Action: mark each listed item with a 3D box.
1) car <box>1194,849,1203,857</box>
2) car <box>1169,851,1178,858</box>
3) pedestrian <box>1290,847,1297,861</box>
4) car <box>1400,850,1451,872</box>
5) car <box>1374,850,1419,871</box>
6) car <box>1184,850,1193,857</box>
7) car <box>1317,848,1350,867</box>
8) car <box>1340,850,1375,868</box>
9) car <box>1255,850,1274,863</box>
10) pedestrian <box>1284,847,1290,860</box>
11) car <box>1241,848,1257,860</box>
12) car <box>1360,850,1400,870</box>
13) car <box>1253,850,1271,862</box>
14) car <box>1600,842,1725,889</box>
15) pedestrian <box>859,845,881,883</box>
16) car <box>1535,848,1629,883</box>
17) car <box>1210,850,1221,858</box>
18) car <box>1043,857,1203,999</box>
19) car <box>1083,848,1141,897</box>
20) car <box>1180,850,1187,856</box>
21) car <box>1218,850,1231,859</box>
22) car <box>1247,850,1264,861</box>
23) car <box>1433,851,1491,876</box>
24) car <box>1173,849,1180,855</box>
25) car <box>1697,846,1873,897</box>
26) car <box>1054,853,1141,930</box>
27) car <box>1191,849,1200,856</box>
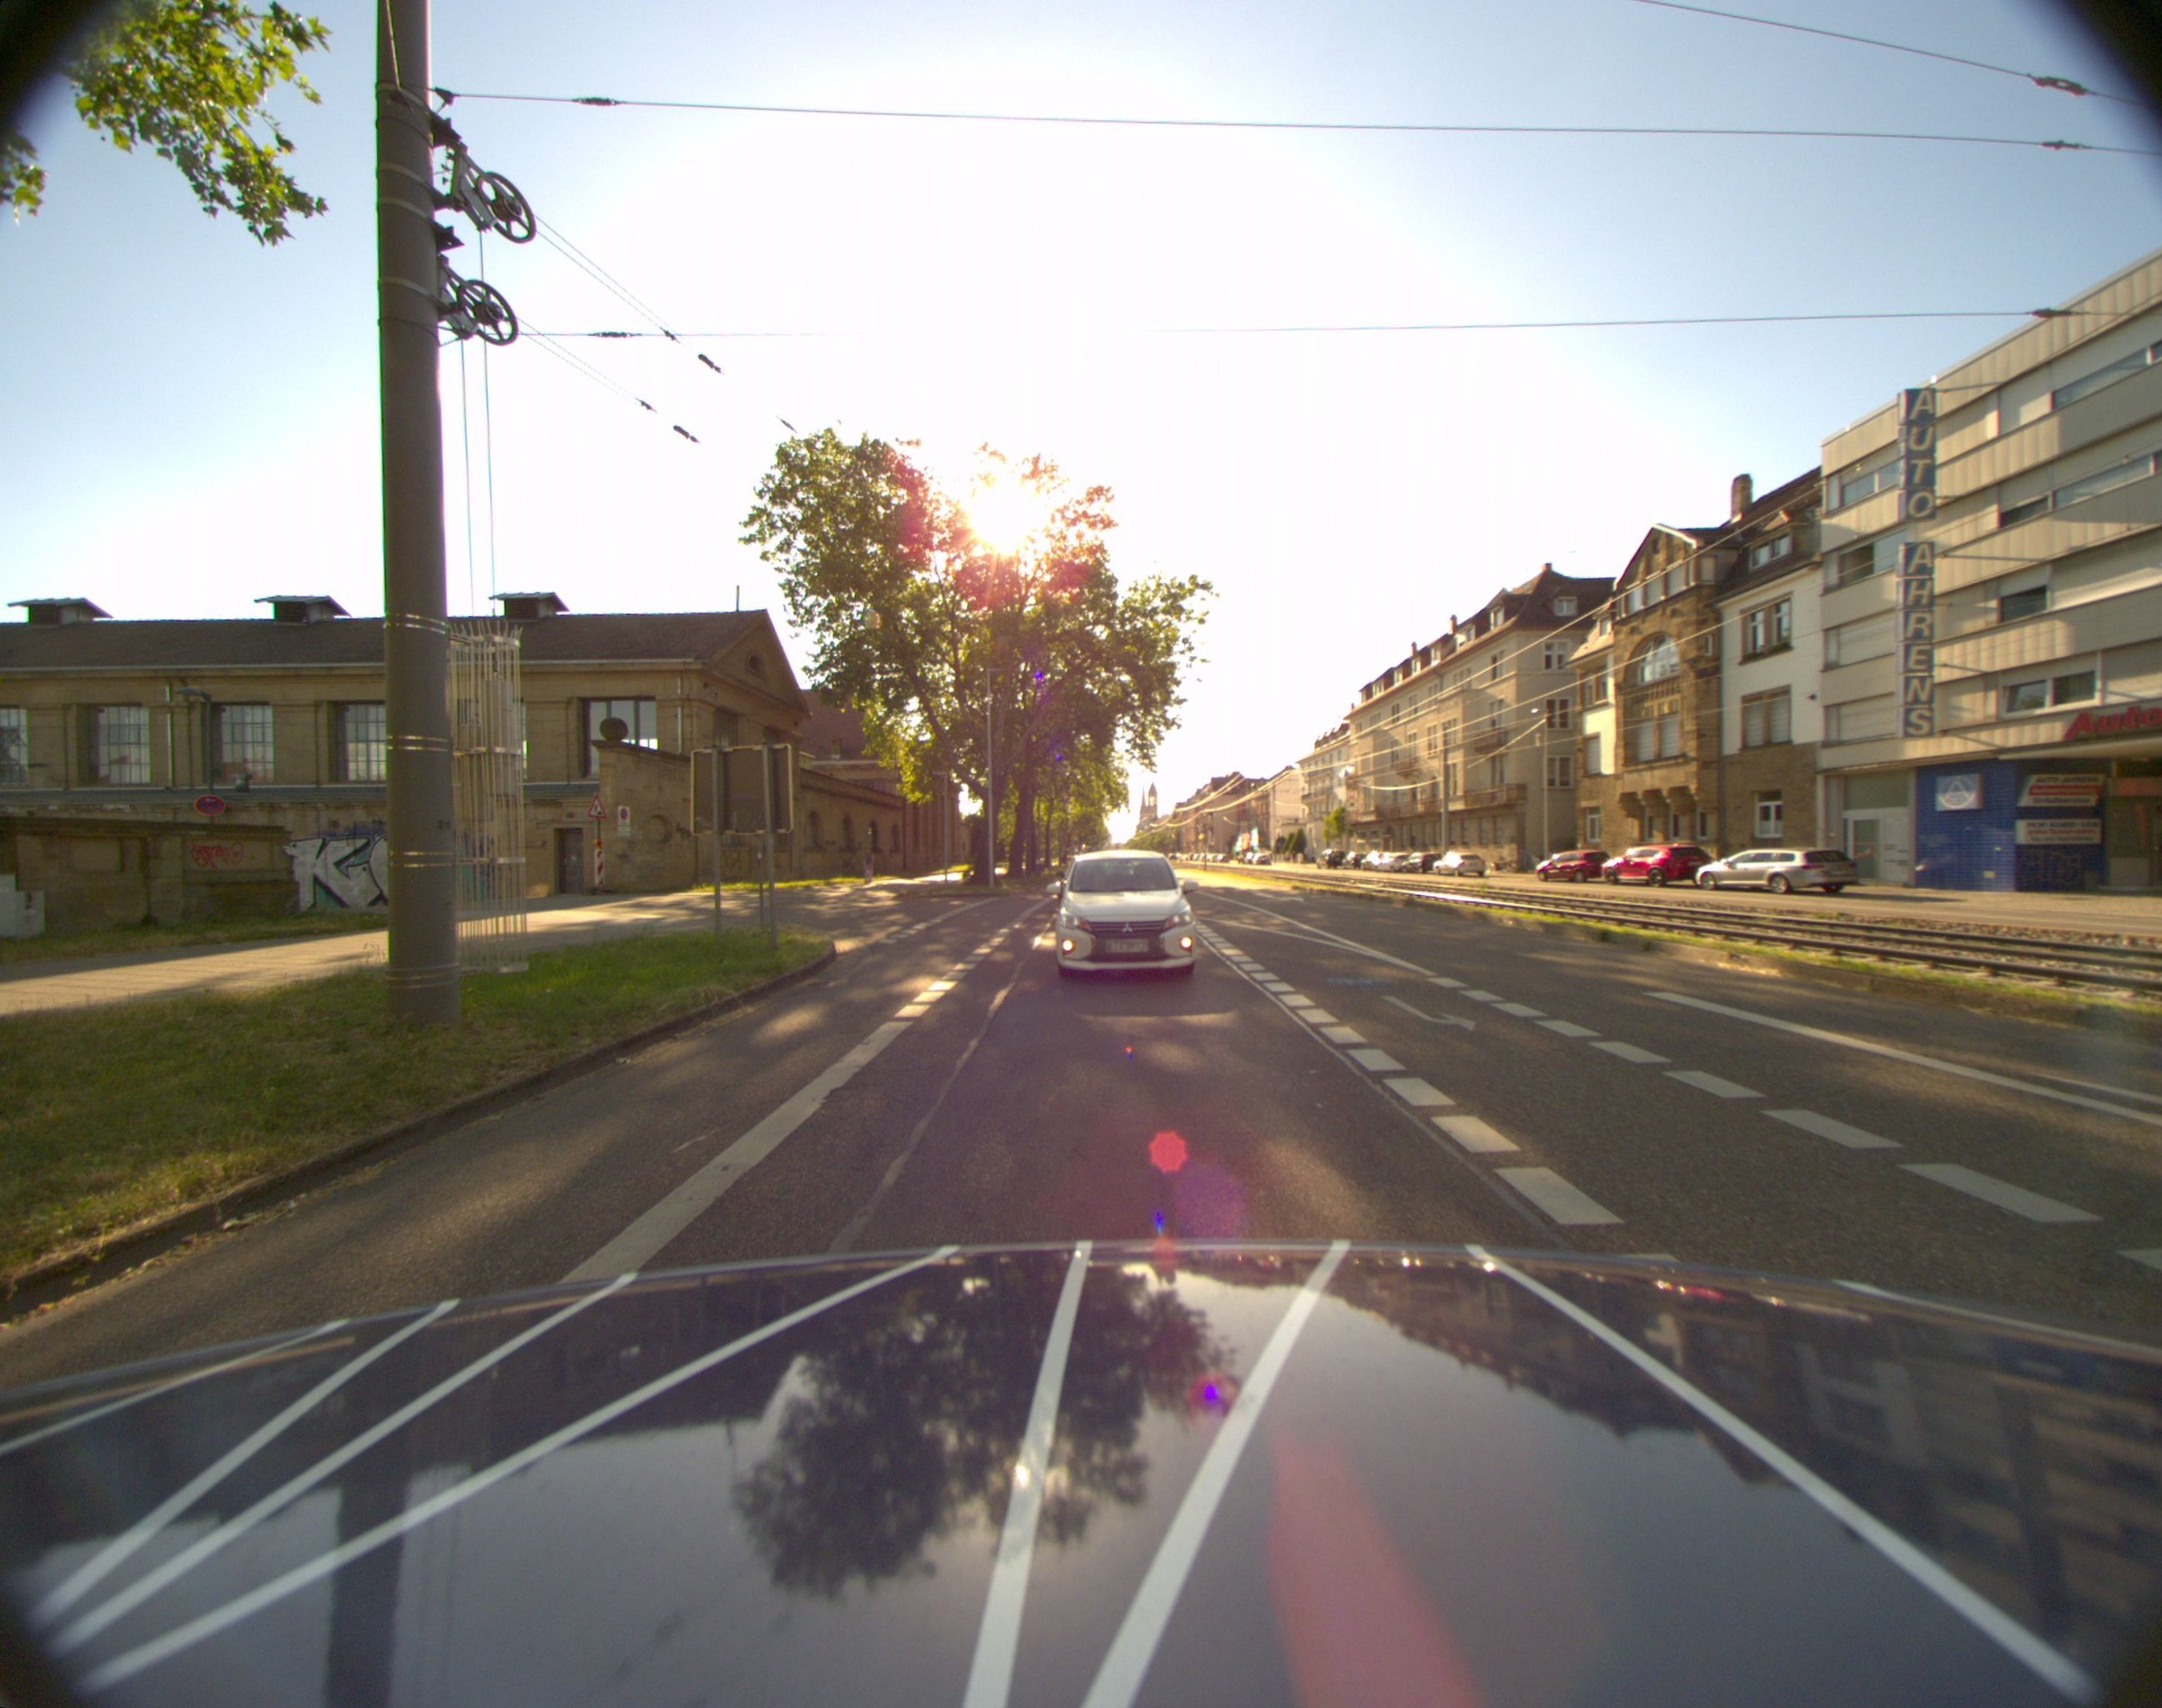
[{"bbox_3d":[27.221,-0.251,175.661,1.624,1.581,3.450,-2,0,1],"label":"car"},{"bbox_3d":[21.959,0.108,179.942,1.822,1.674,4.000,0,0,2],"label":"car"},{"bbox_3d":[27.906,0.004,99.895,0.725,1.779,0.678,0,1,1],"label":"pedestrian"},{"bbox_3d":[24.100,0.477,53.247,1.802,1.422,3.822,-2,0,0],"label":"car"},{"bbox_3d":[23.760,0.482,57.388,1.642,1.438,3.538,-2,0,-6],"label":"car"},{"bbox_3d":[26.636,-0.139,188.171,1.624,1.581,3.450,-2,0,1],"label":"car"},{"bbox_3d":[24.465,0.324,73.750,1.875,1.726,3.915,-2,0,2],"label":"car"},{"bbox_3d":[24.792,0.424,68.140,1.802,1.471,3.823,-2,0,2],"label":"car"},{"bbox_3d":[24.116,0.297,100.035,1.677,1.622,3.408,-2,0,2],"label":"car"},{"bbox_3d":[27.109,-0.092,99.987,0.725,1.779,0.678,0,1,1],"label":"pedestrian"},{"bbox_3d":[25.661,-0.066,116.069,1.727,1.776,3.881,-2,0,1],"label":"car"},{"bbox_3d":[24.480,0.477,62.289,1.802,1.471,3.823,-2,0,2],"label":"car"},{"bbox_3d":[25.148,0.249,105.612,1.684,1.562,3.388,-2,0,1],"label":"car"},{"bbox_3d":[23.448,0.424,30.855,1.860,1.677,4.263,-2,0,2],"label":"car"},{"bbox_3d":[-9.487,0.446,34.155,0.672,1.652,0.874,0,1,3],"label":"pedestrian"},{"bbox_3d":[23.612,0.511,35.949,1.756,1.487,3.728,-2,0,-5],"label":"car"},{"bbox_3d":[25.822,-0.034,145.699,1.624,1.581,3.450,-2,0,1],"label":"car"},{"bbox_3d":[0.507,0.809,10.179,1.686,1.462,4.055,-1,0,2],"label":"car"},{"bbox_3d":[1.070,0.590,26.241,1.833,1.543,4.000,0,1,2],"label":"car"},{"bbox_3d":[26.800,-0.281,198.811,1.624,1.581,3.450,-2,0,1],"label":"car"},{"bbox_3d":[25.730,0.015,136.553,1.624,1.581,3.450,-2,0,1],"label":"car"},{"bbox_3d":[25.222,0.192,110.153,1.684,1.562,3.388,-2,0,1],"label":"car"},{"bbox_3d":[23.947,0.573,47.864,1.802,1.471,3.823,-2,0,2],"label":"car"},{"bbox_3d":[28.405,-0.562,225.809,1.624,1.581,3.450,-2,0,1],"label":"car"},{"bbox_3d":[23.374,0.536,25.501,1.860,1.490,4.381,-2,0,0],"label":"car"},{"bbox_3d":[0.385,0.741,16.904,1.686,1.462,4.055,-1,0,2],"label":"car"},{"bbox_3d":[27.093,-0.263,180.558,1.624,1.581,3.450,-2,0,1],"label":"car"}]
